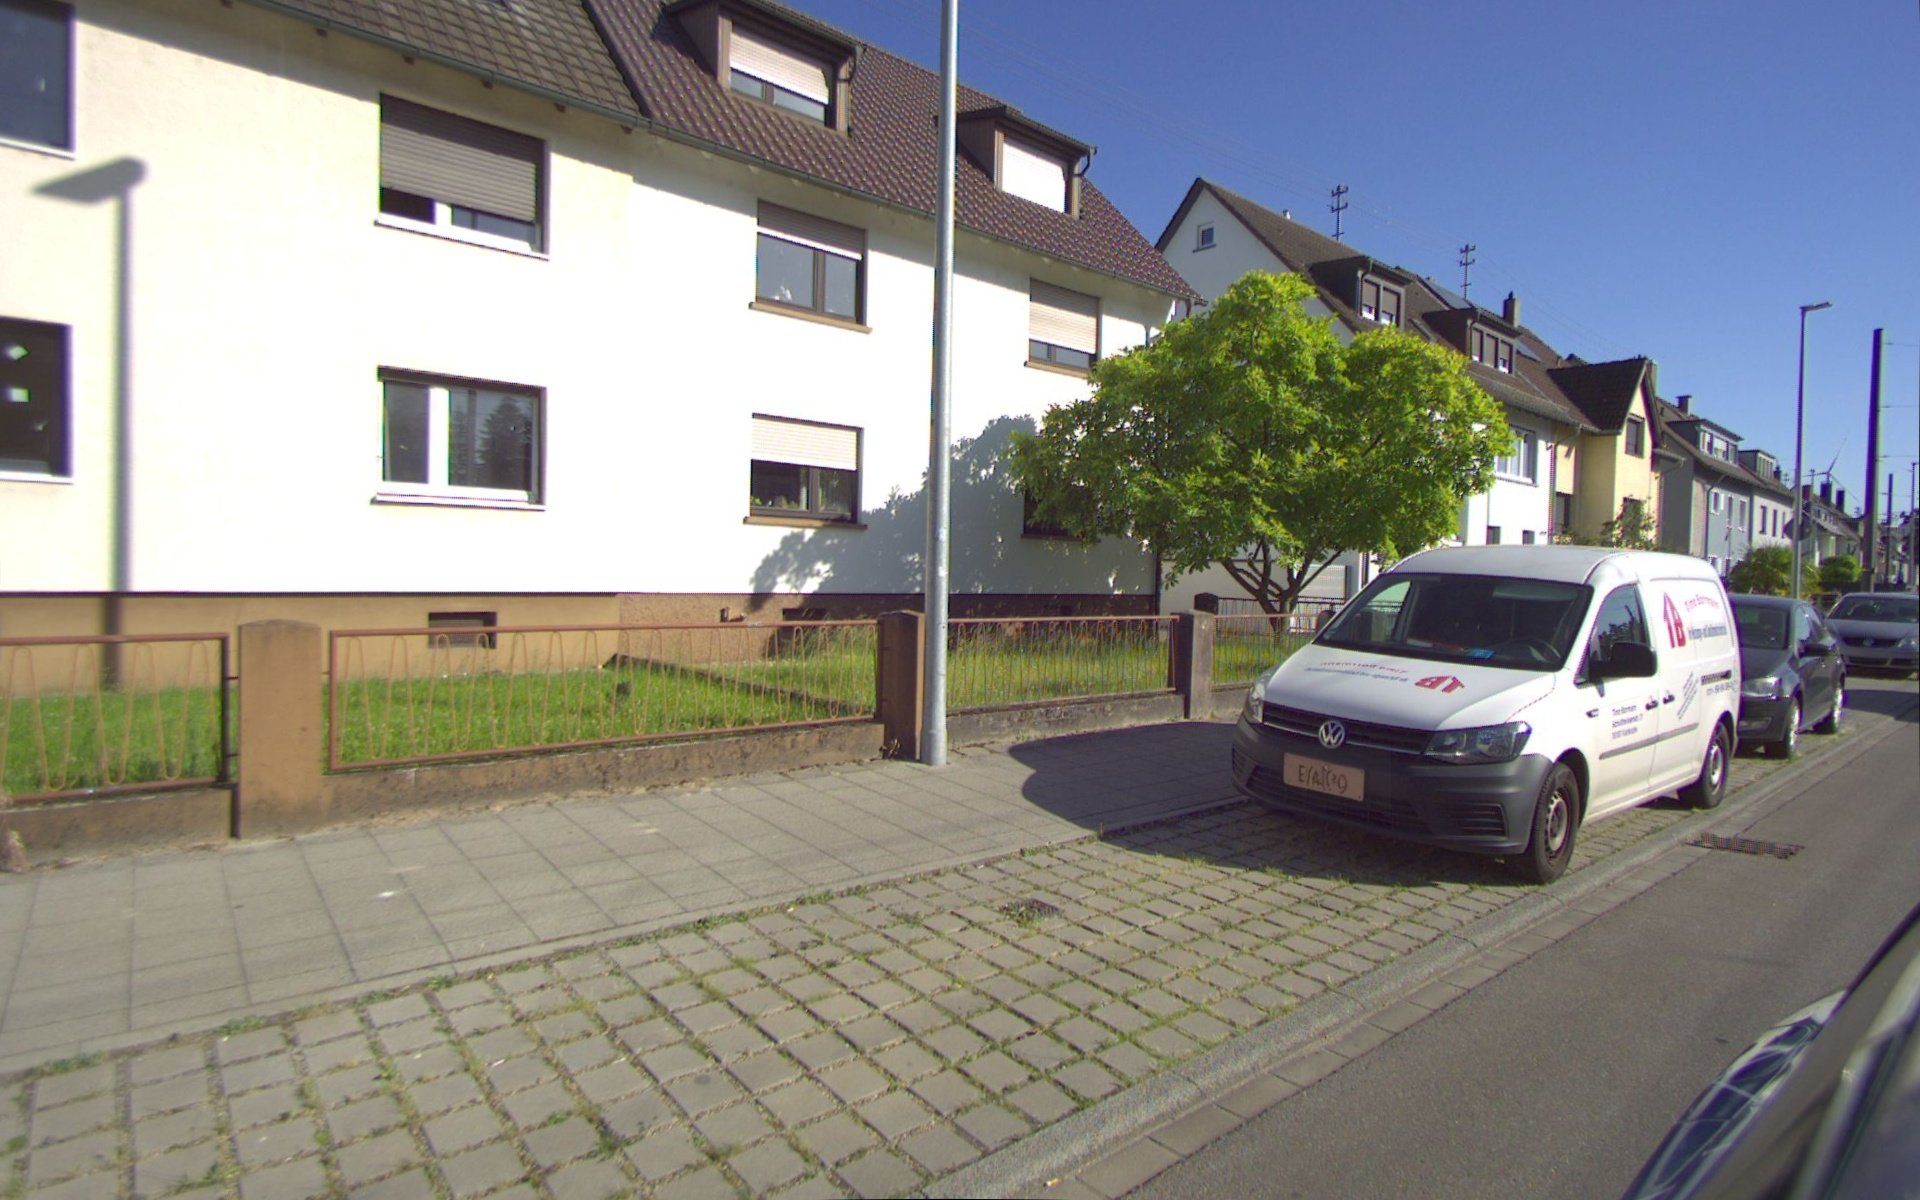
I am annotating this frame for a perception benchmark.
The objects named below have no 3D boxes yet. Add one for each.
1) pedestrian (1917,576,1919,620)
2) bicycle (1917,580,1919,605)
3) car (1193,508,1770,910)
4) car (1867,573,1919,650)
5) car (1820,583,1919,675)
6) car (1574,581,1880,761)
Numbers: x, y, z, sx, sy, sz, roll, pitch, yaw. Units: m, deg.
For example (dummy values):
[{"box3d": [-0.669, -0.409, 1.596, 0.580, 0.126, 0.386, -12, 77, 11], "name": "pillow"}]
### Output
[{"box3d": [38.556, -0.082, 40.248, 0.702, 1.744, 0.584, 0, 2, -40], "name": "pedestrian"}, {"box3d": [38.881, -0.286, 40.519, 1.534, 0.991, 0.602, -1, 4, -39], "name": "bicycle"}, {"box3d": [3.651, 0.445, 6.646, 4.573, 1.798, 1.694, 0, 2, -40], "name": "car"}, {"box3d": [21.462, 0.248, 22.238, 3.767, 1.566, 1.671, 0, 4, -40], "name": "car"}, {"box3d": [17.323, 0.457, 18.693, 4.374, 1.493, 1.618, -1, 3, -42], "name": "car"}, {"box3d": [8.076, 0.564, 10.531, 4.053, 1.471, 1.675, -1, 3, -40], "name": "car"}]
